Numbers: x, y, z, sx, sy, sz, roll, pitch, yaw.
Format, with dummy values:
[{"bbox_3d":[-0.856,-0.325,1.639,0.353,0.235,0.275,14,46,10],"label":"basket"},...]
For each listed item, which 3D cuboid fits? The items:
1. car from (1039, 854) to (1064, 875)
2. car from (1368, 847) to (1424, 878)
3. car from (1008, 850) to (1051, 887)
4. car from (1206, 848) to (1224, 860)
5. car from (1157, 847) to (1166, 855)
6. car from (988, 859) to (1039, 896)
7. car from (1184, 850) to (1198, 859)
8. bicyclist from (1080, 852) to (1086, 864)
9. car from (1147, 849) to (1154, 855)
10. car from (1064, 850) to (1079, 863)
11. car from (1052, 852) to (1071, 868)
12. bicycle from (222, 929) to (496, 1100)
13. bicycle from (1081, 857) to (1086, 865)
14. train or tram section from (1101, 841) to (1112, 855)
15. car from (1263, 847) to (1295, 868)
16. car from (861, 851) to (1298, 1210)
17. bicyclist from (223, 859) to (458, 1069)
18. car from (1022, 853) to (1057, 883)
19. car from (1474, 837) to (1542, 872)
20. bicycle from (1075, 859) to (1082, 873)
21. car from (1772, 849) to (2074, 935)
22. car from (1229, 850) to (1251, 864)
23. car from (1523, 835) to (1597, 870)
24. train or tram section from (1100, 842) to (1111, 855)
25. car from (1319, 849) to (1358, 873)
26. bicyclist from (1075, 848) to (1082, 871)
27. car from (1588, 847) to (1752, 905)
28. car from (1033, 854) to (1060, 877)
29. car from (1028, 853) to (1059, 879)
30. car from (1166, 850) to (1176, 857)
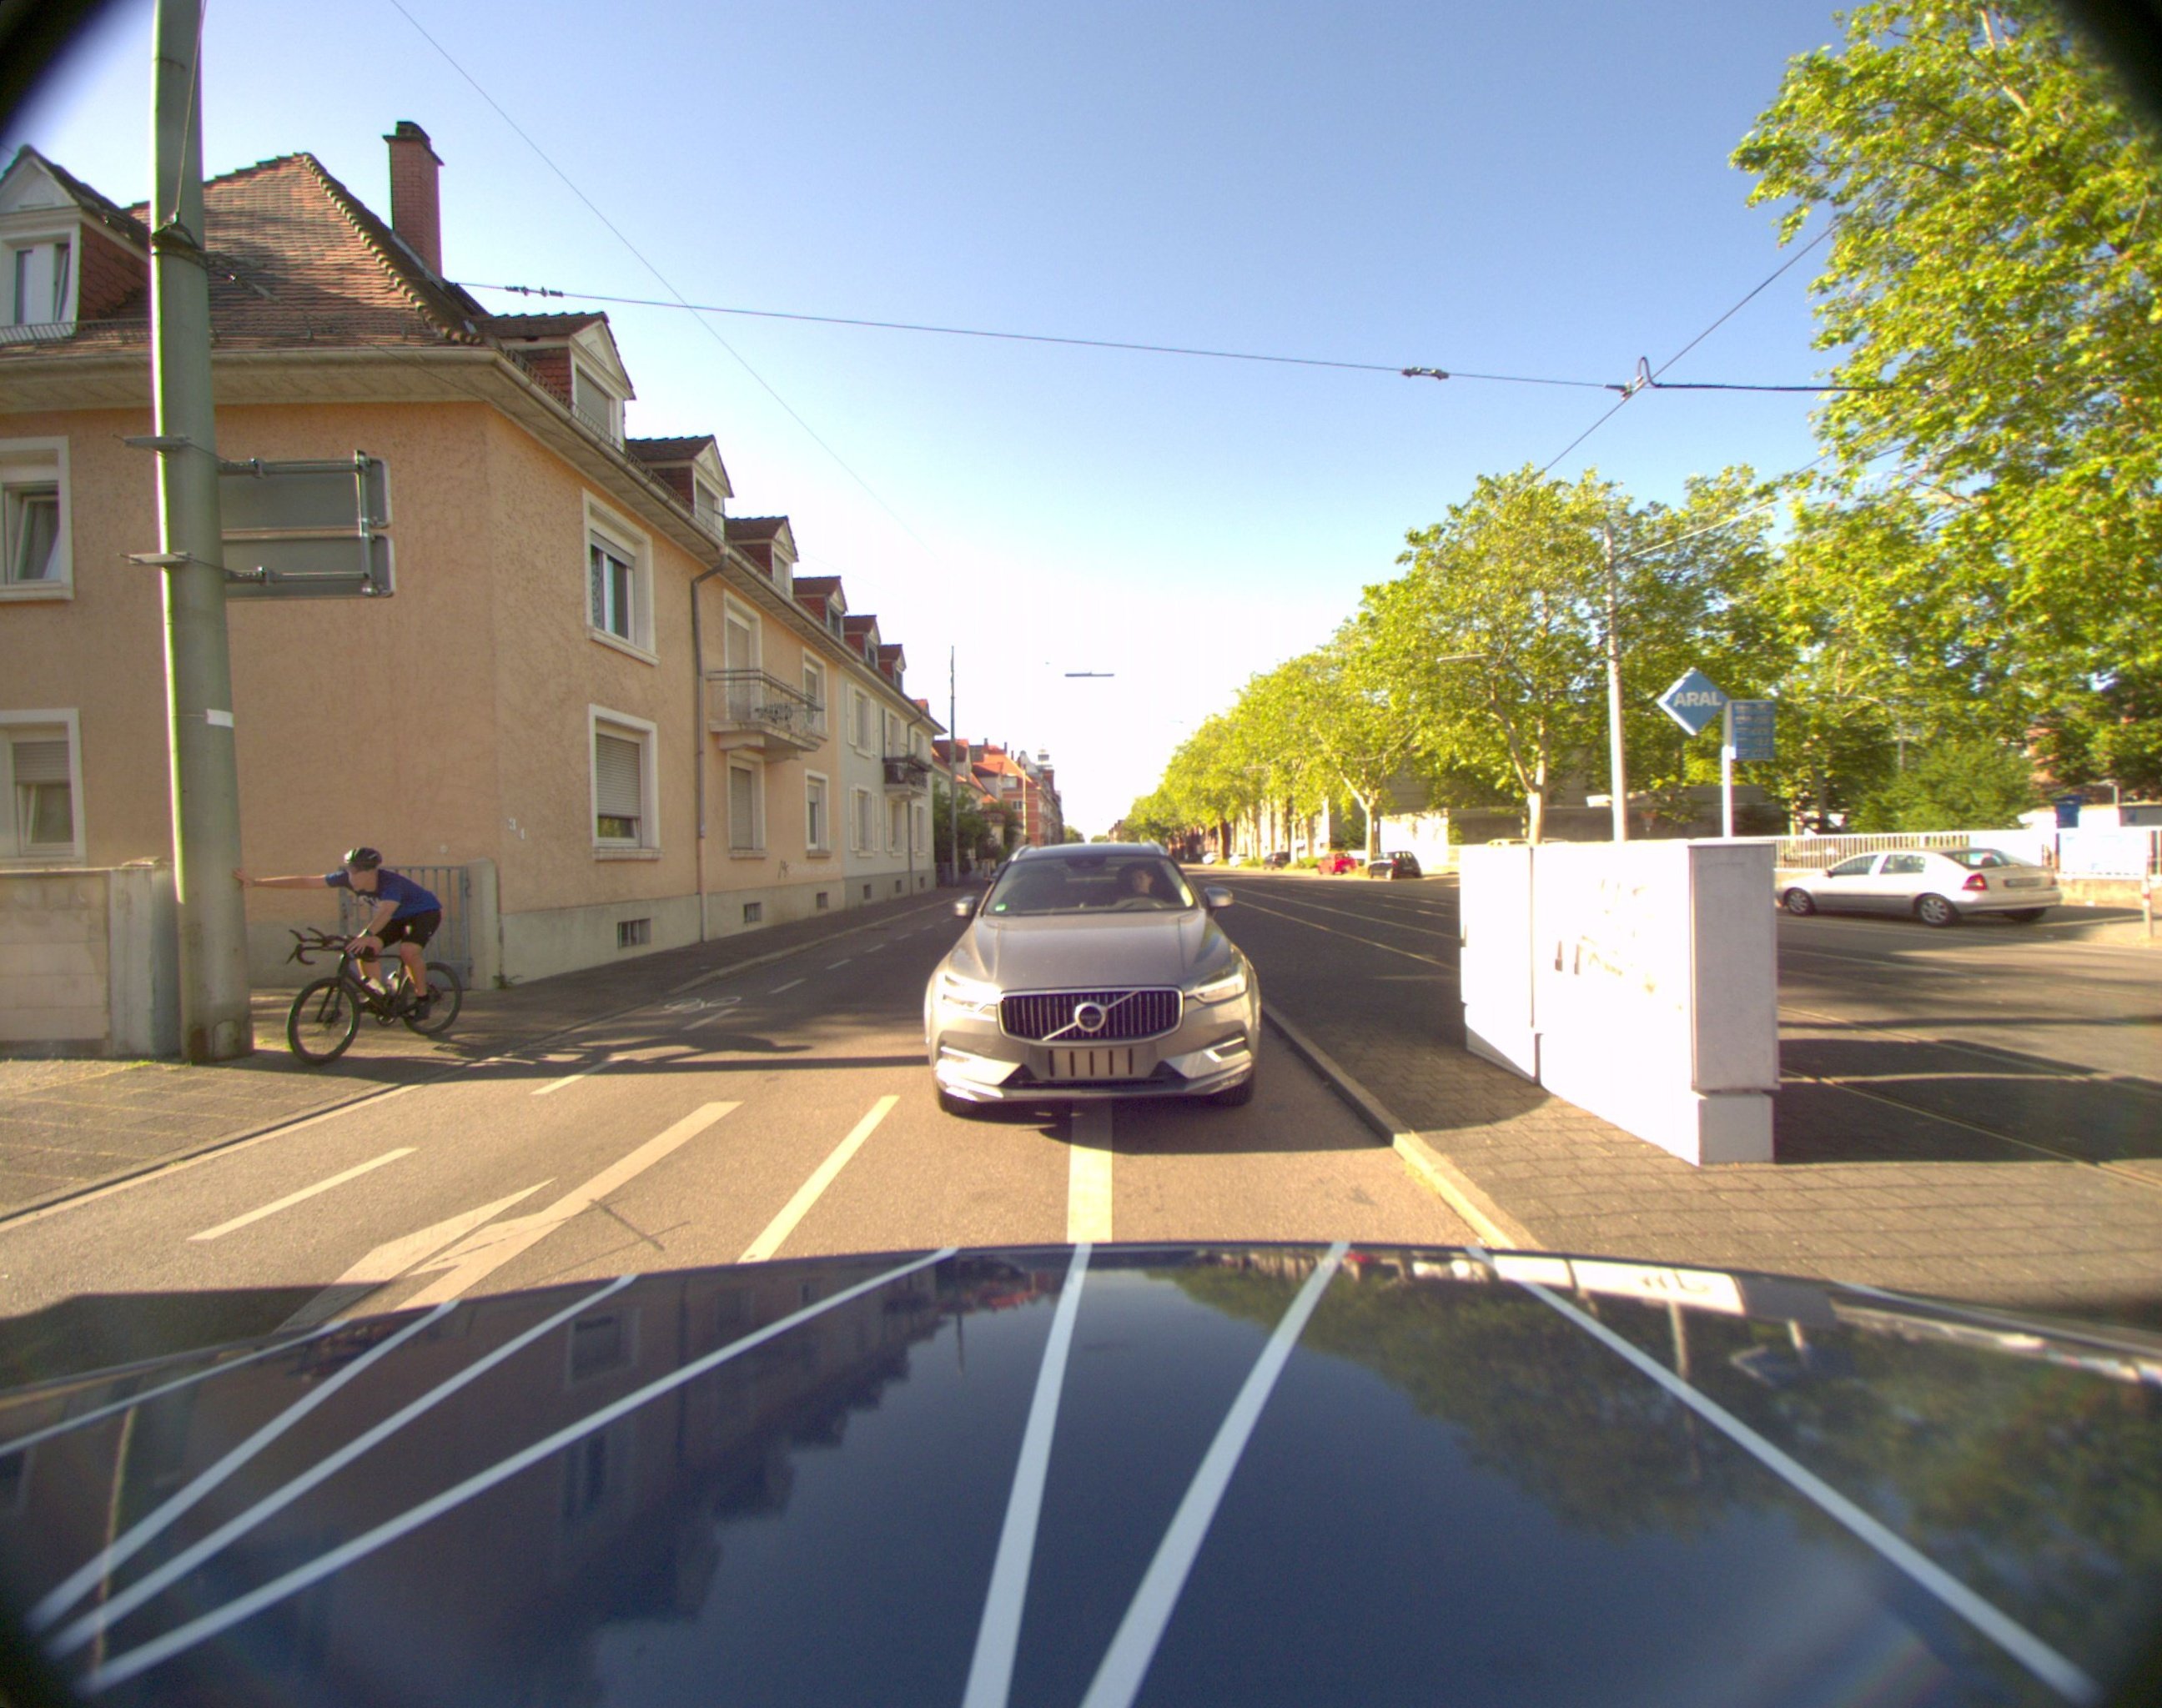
[{"bbox_3d":[-2.562,0.865,67.067,1.793,1.673,3.814,-3,0,2],"label":"car"},{"bbox_3d":[16.876,0.433,40.889,1.599,1.498,3.304,-3,0,1],"label":"car"},{"bbox_3d":[-2.833,0.746,42.812,1.793,1.828,5.149,-3,0,2],"label":"car"},{"bbox_3d":[17.780,0.034,100.708,1.695,1.440,3.749,-3,0,1],"label":"car"},{"bbox_3d":[20.222,-0.715,191.408,1.695,1.775,3.749,-3,0,1],"label":"car"},{"bbox_3d":[-3.232,1.088,37.039,1.695,1.571,3.815,-3,0,5],"label":"car"},{"bbox_3d":[18.185,0.081,125.516,1.695,1.440,3.749,-3,0,1],"label":"car"},{"bbox_3d":[0.289,0.563,111.205,0.685,1.611,0.855,-2,1,1],"label":"bicyclist"},{"bbox_3d":[19.637,-0.609,214.801,1.695,1.775,3.749,-3,0,1],"label":"car"},{"bbox_3d":[-1.306,0.372,107.095,1.793,1.673,3.814,-3,0,2],"label":"car"},{"bbox_3d":[-2.163,0.641,85.361,1.793,1.673,3.814,-3,0,2],"label":"car"},{"bbox_3d":[-6.032,1.274,6.516,0.592,1.062,1.775,4,0,1],"label":"bicycle"},{"bbox_3d":[0.306,0.984,111.279,0.685,1.098,1.806,-2,1,1],"label":"bicycle"},{"bbox_3d":[7.121,-1.583,211.240,2.717,3.643,12.653,-1,0,0],"label":"train or tram section"},{"bbox_3d":[17.127,0.281,65.882,1.695,1.648,3.749,-3,0,1],"label":"car"},{"bbox_3d":[0.023,0.830,5.746,1.998,1.628,4.306,-2,0,1],"label":"car"},{"bbox_3d":[-6.239,0.876,6.467,1.051,1.599,0.885,4,0,1],"label":"bicyclist"},{"bbox_3d":[-2.595,0.858,48.477,1.793,1.673,3.814,-3,0,2],"label":"car"},{"bbox_3d":[21.537,0.020,38.467,1.599,1.606,3.304,-2,0,1],"label":"car"},{"bbox_3d":[-0.205,1.006,63.848,0.519,1.084,1.797,-1,-2,3],"label":"bicycle"},{"bbox_3d":[16.218,0.645,14.975,1.695,1.395,3.813,-3,0,1],"label":"car"},{"bbox_3d":[17.451,0.300,83.537,1.695,1.440,3.749,-3,0,1],"label":"car"},{"bbox_3d":[23.871,-0.075,38.019,1.599,1.583,3.304,-2,0,1],"label":"car"},{"bbox_3d":[7.182,-1.609,223.855,2.717,3.643,12.653,-1,0,0],"label":"train or tram section"},{"bbox_3d":[16.868,0.441,49.860,1.599,1.498,2.622,-3,0,1],"label":"car"},{"bbox_3d":[-0.221,0.460,63.821,0.519,1.922,0.946,-1,-2,3],"label":"bicyclist"},{"bbox_3d":[16.403,0.565,21.410,1.695,1.395,3.749,-3,0,1],"label":"car"},{"bbox_3d":[-2.730,0.891,61.022,1.793,1.673,3.814,-3,0,2],"label":"car"},{"bbox_3d":[-2.642,0.840,53.997,1.793,1.673,3.814,-3,0,2],"label":"car"},{"bbox_3d":[19.252,-0.183,161.871,1.695,1.440,3.749,-3,0,1],"label":"car"}]
